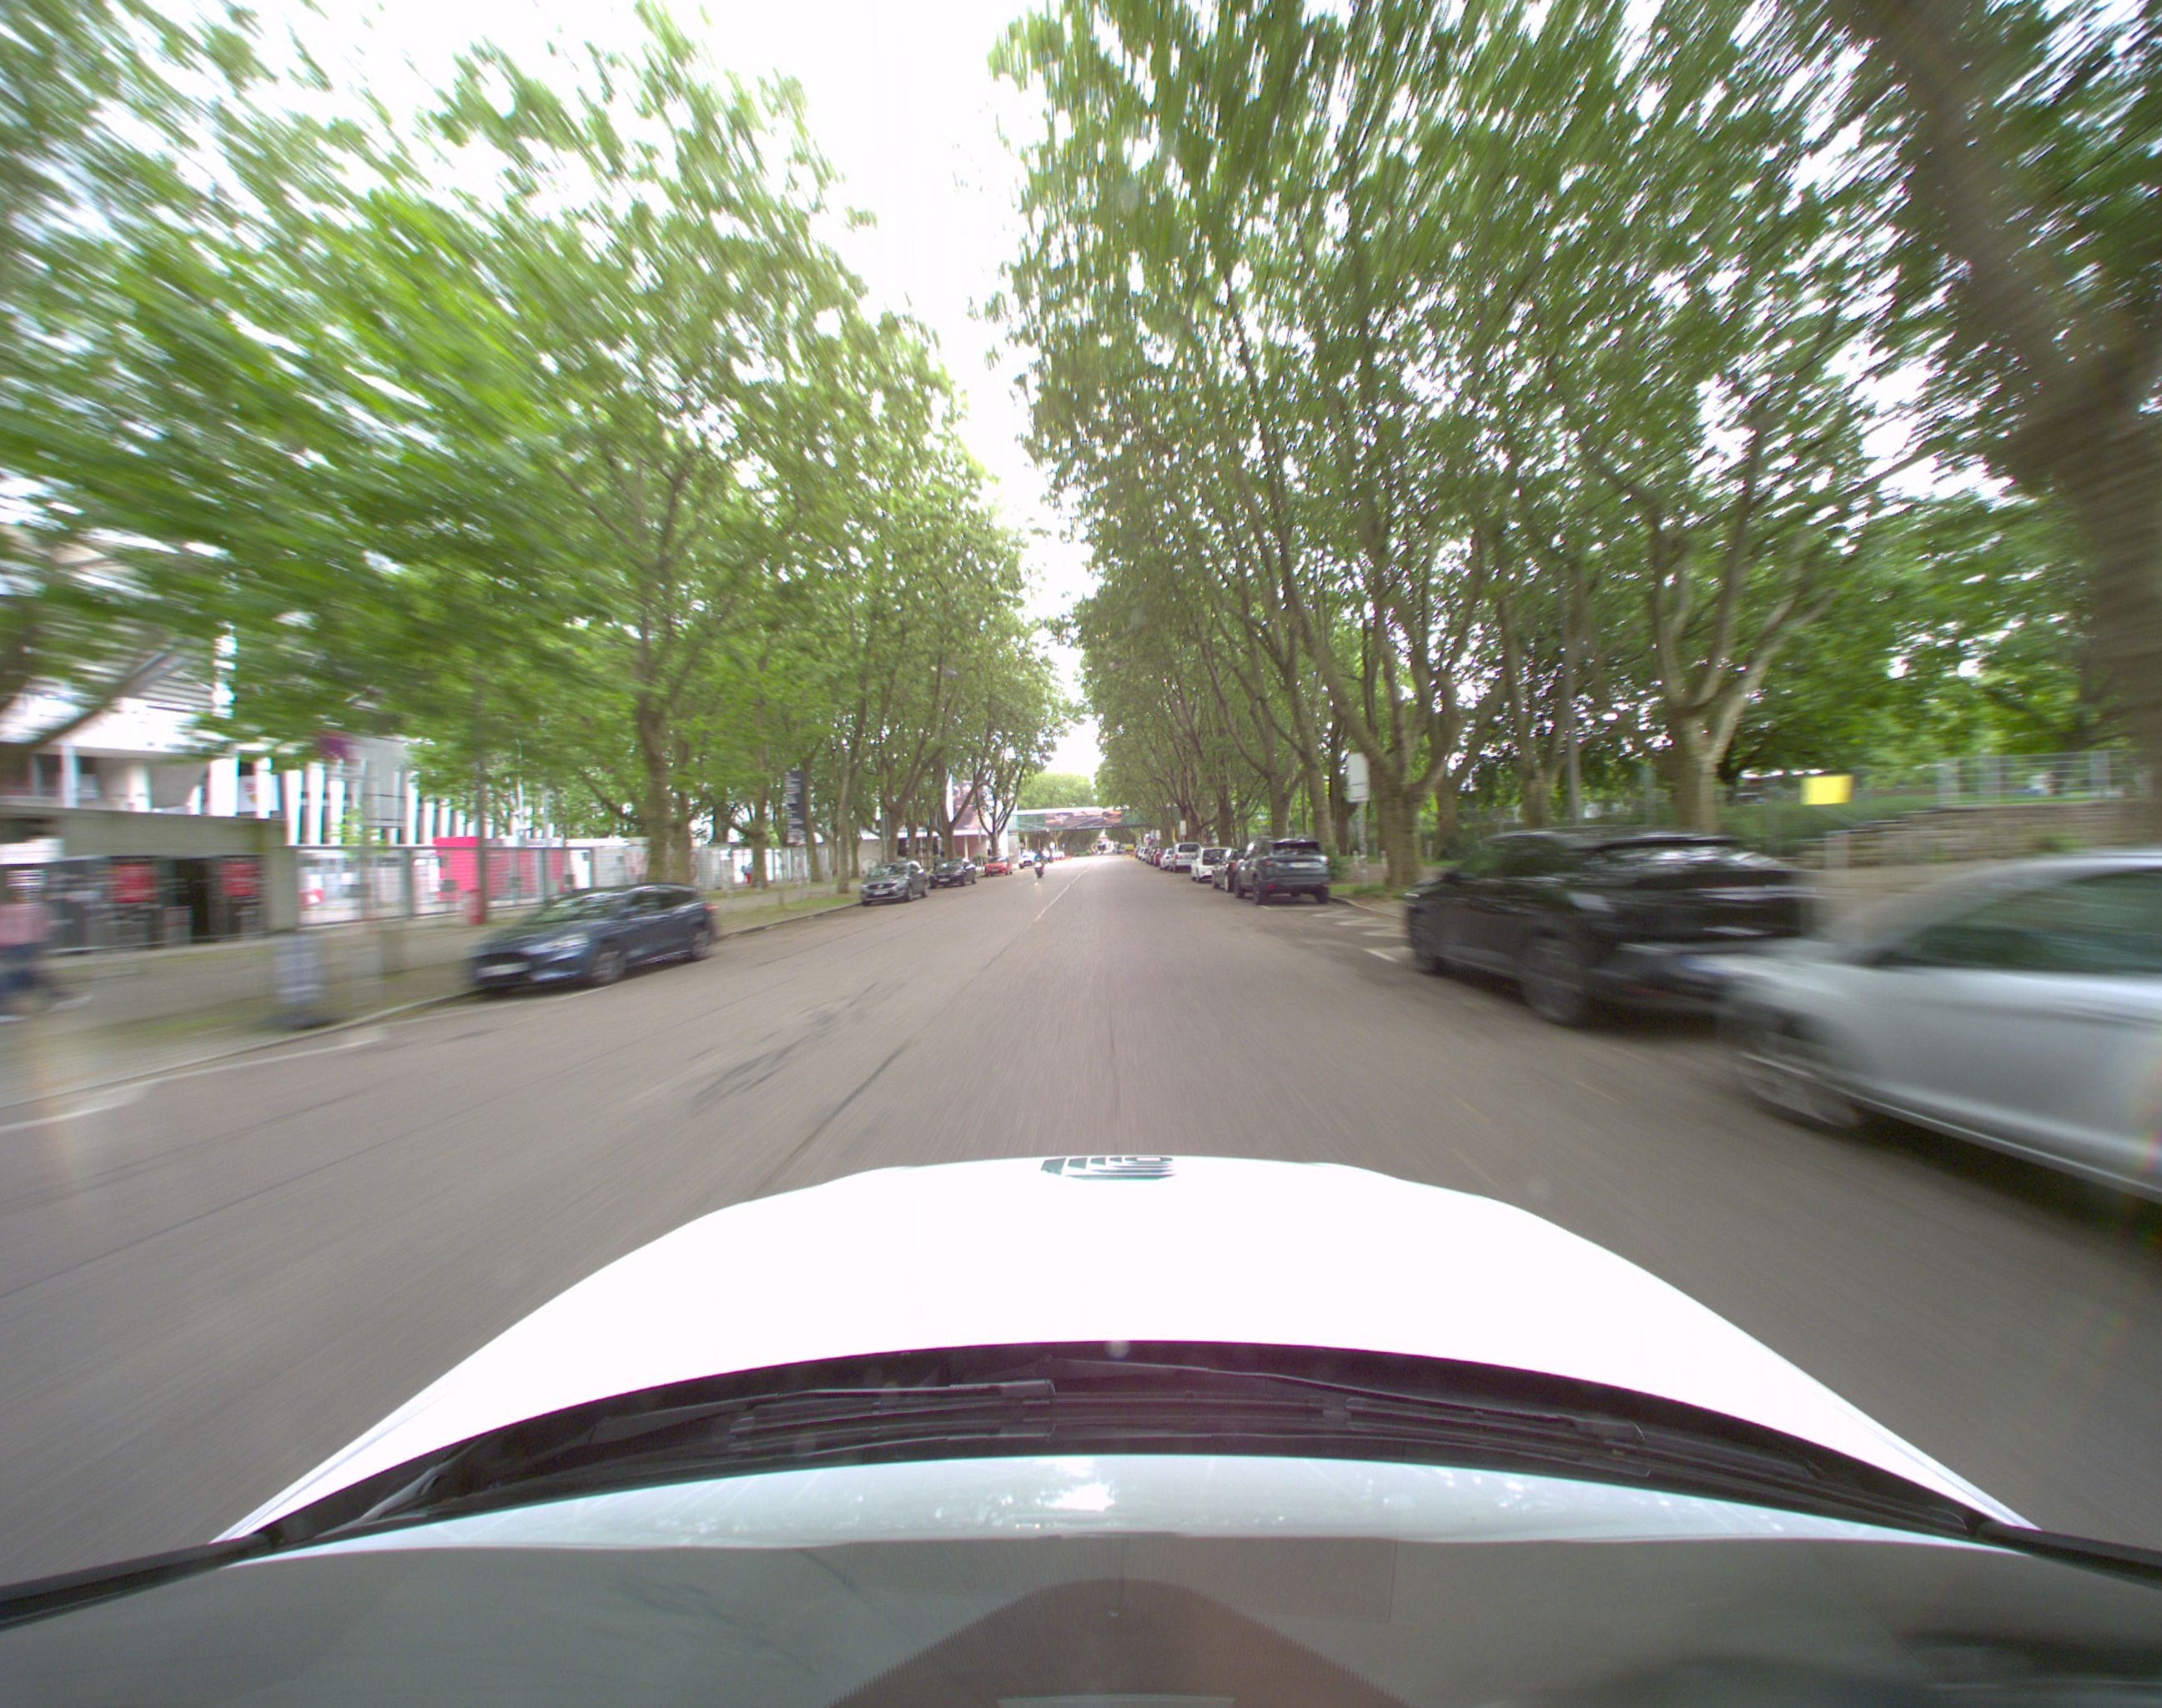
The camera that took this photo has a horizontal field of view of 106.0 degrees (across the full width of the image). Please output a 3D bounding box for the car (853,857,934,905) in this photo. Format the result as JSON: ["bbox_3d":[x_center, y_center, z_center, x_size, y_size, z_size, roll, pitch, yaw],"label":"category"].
[{"bbox_3d":[-7.030,0.958,30.979,1.871,1.527,4.153,-4,0,2],"label":"car"}]

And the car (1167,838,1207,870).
[{"bbox_3d":[6.199,0.004,48.118,1.895,1.738,4.508,-2,0,2],"label":"car"}]

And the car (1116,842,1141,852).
[{"bbox_3d":[13.334,-1.905,227.714,6.802,2.513,2.316,-3,0,-1],"label":"car"}]

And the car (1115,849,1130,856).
[{"bbox_3d":[11.988,-0.339,235.204,3.973,1.794,1.543,-3,0,1],"label":"car"}]

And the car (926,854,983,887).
[{"bbox_3d":[-6.501,0.829,42.338,1.819,1.465,4.632,-4,0,4],"label":"car"}]

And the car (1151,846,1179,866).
[{"bbox_3d":[6.659,0.115,64.941,1.850,1.481,4.179,-2,0,2],"label":"car"}]

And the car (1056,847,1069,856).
[{"bbox_3d":[-3.378,-0.450,151.558,1.986,1.584,4.115,-5,0,2],"label":"car"}]

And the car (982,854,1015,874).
[{"bbox_3d":[-6.105,0.733,60.452,1.801,1.354,4.002,-3,0,2],"label":"car"}]

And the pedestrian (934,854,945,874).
[{"bbox_3d":[-11.681,0.809,67.465,0.588,1.620,0.794,-2,0,11],"label":"pedestrian"}]

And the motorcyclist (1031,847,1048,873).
[{"bbox_3d":[-2.430,0.324,47.631,0.868,1.480,1.264,-3,0,-2],"label":"motorcyclist"}]

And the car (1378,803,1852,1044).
[{"bbox_3d":[4.724,0.494,8.233,1.771,1.673,4.638,-2,0,1],"label":"car"}]

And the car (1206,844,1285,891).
[{"bbox_3d":[5.424,0.396,27.353,1.702,1.415,4.360,-2,1,0],"label":"car"}]

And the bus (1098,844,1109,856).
[{"bbox_3d":[6.775,-1.126,246.611,3.028,3.160,12.680,-4,0,1],"label":"bus"}]

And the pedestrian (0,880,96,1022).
[{"bbox_3d":[-13.768,1.250,10.744,0.572,1.770,0.771,-3,0,16],"label":"pedestrian"}]

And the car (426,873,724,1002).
[{"bbox_3d":[-7.680,1.154,13.030,1.718,1.486,4.577,-3,0,2],"label":"car"}]

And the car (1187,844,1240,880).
[{"bbox_3d":[5.544,0.309,34.427,1.701,1.427,3.891,-1,0,2],"label":"car"}]

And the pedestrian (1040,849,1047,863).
[{"bbox_3d":[-3.974,0.241,85.805,0.581,1.466,0.568,-2,0,5],"label":"pedestrian"}]

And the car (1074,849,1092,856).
[{"bbox_3d":[0.652,-0.406,217.950,4.681,1.584,1.865,-3,0,2],"label":"car"}]

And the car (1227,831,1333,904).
[{"bbox_3d":[5.115,0.301,21.584,1.702,1.698,4.631,-1,0,0],"label":"car"}]

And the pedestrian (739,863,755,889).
[{"bbox_3d":[-20.365,1.317,49.655,0.665,1.543,0.660,-2,0,2],"label":"pedestrian"}]

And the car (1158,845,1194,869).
[{"bbox_3d":[6.178,0.192,53.570,1.870,1.427,4.587,-2,0,1],"label":"car"}]

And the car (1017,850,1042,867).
[{"bbox_3d":[-5.348,0.439,84.726,2.065,1.563,4.759,-3,0,2],"label":"car"}]

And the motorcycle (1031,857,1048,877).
[{"bbox_3d":[-2.400,0.727,47.663,0.871,1.079,3.051,-3,0,-1],"label":"motorcycle"}]

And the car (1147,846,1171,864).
[{"bbox_3d":[6.842,0.094,71.615,1.869,1.427,4.483,-2,0,3],"label":"car"}]

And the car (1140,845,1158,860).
[{"bbox_3d":[7.785,-0.155,93.148,1.800,1.526,4.098,-3,0,2],"label":"car"}]

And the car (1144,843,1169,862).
[{"bbox_3d":[7.219,-0.143,78.511,1.974,1.680,4.732,-3,0,1],"label":"car"}]

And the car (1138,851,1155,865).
[{"bbox_3d":[8.114,0.467,100.998,1.907,1.618,4.751,-3,0,2],"label":"car"}]

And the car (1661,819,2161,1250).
[{"bbox_3d":[4.448,0.588,3.360,1.609,1.441,3.713,-1,0,3],"label":"car"}]

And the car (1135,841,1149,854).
[{"bbox_3d":[8.734,-0.923,117.440,1.840,1.783,5.214,-1,0,2],"label":"car"}]

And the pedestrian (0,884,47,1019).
[{"bbox_3d":[-14.438,1.295,10.741,0.570,1.742,0.771,-3,0,16],"label":"pedestrian"}]
